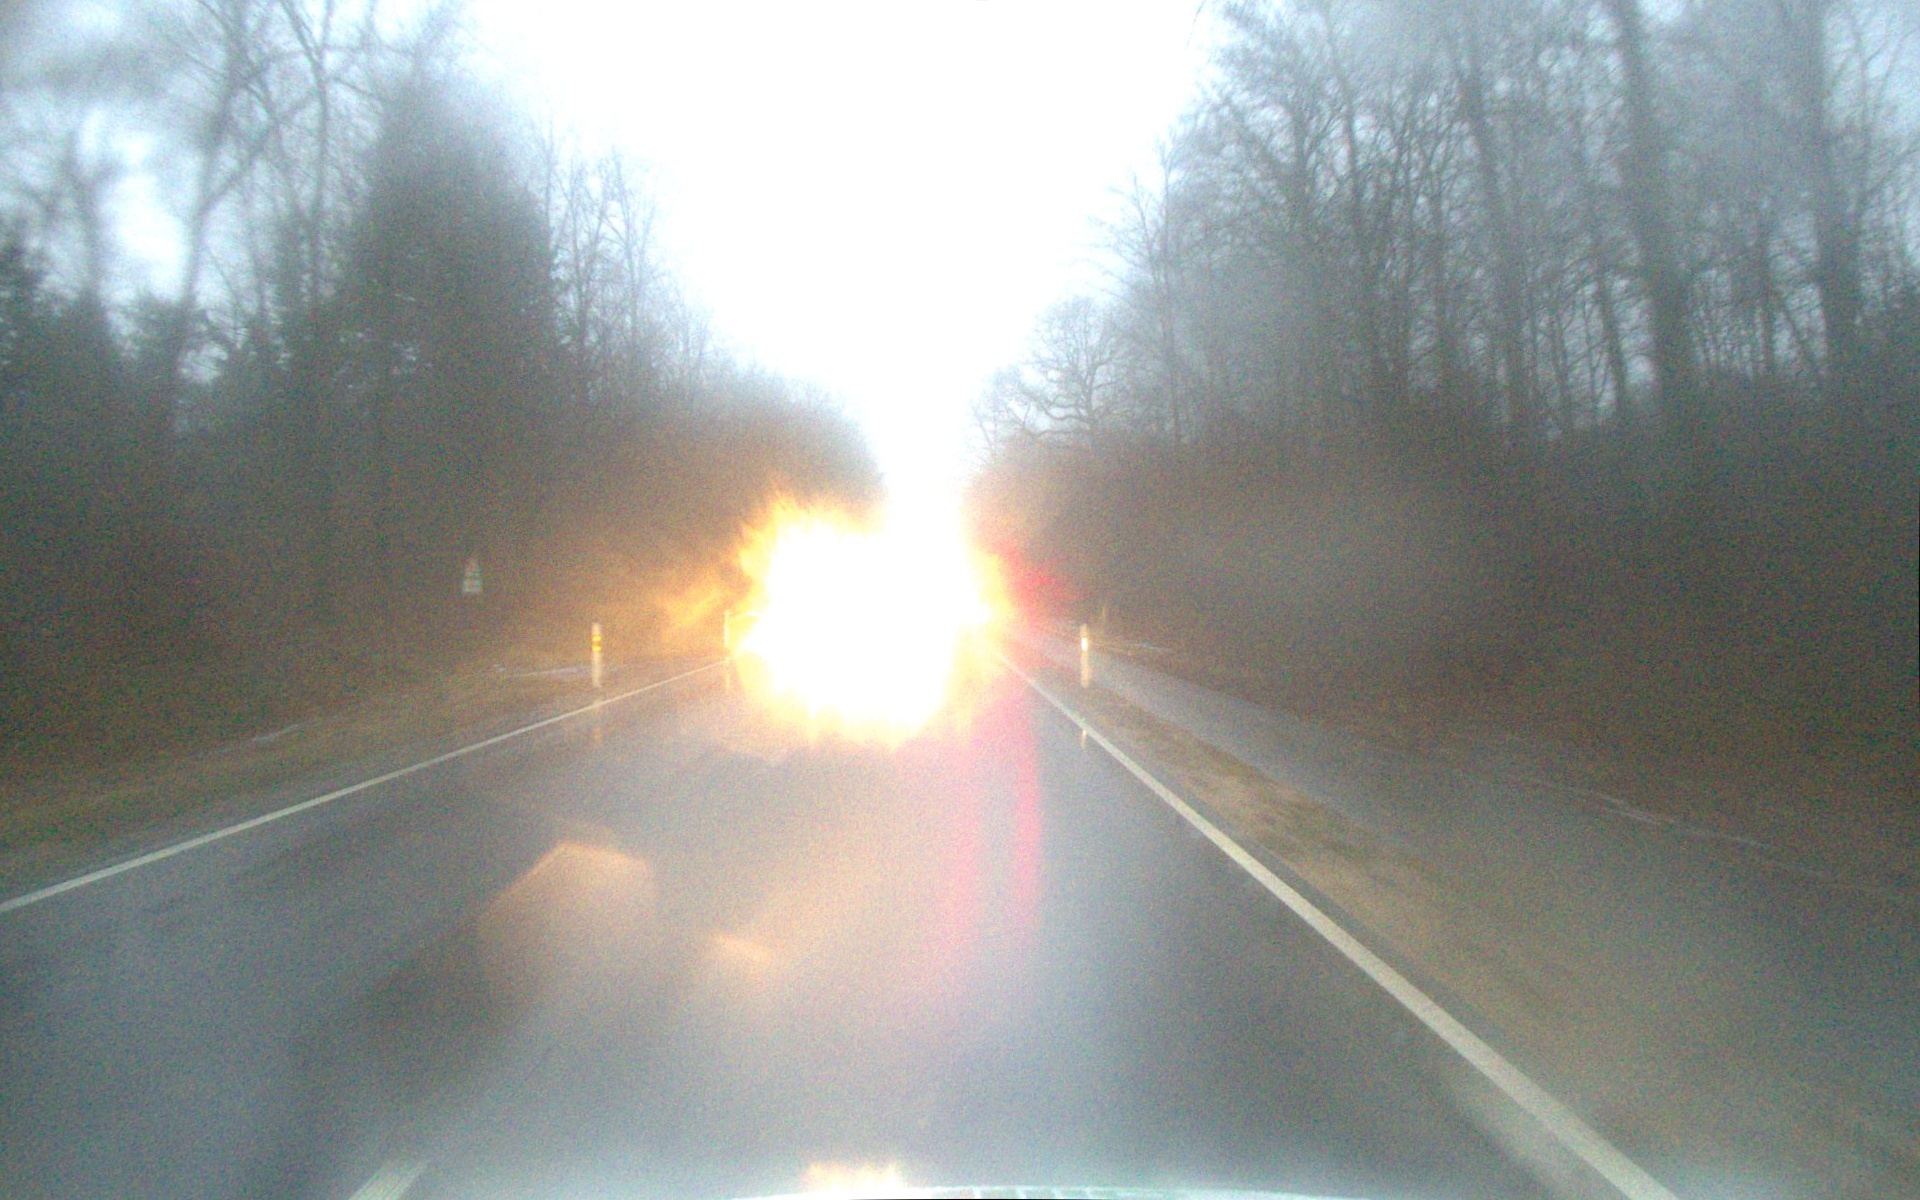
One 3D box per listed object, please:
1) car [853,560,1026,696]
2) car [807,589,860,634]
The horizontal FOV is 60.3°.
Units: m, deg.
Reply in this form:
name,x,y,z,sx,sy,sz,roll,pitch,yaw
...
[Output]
name,x,y,z,sx,sy,sz,roll,pitch,yaw
car,-0.380,0.533,33.740,3.118,2.428,6.635,1,0,0
car,-4.782,0.410,62.974,1.763,1.628,3.861,-1,0,-1
